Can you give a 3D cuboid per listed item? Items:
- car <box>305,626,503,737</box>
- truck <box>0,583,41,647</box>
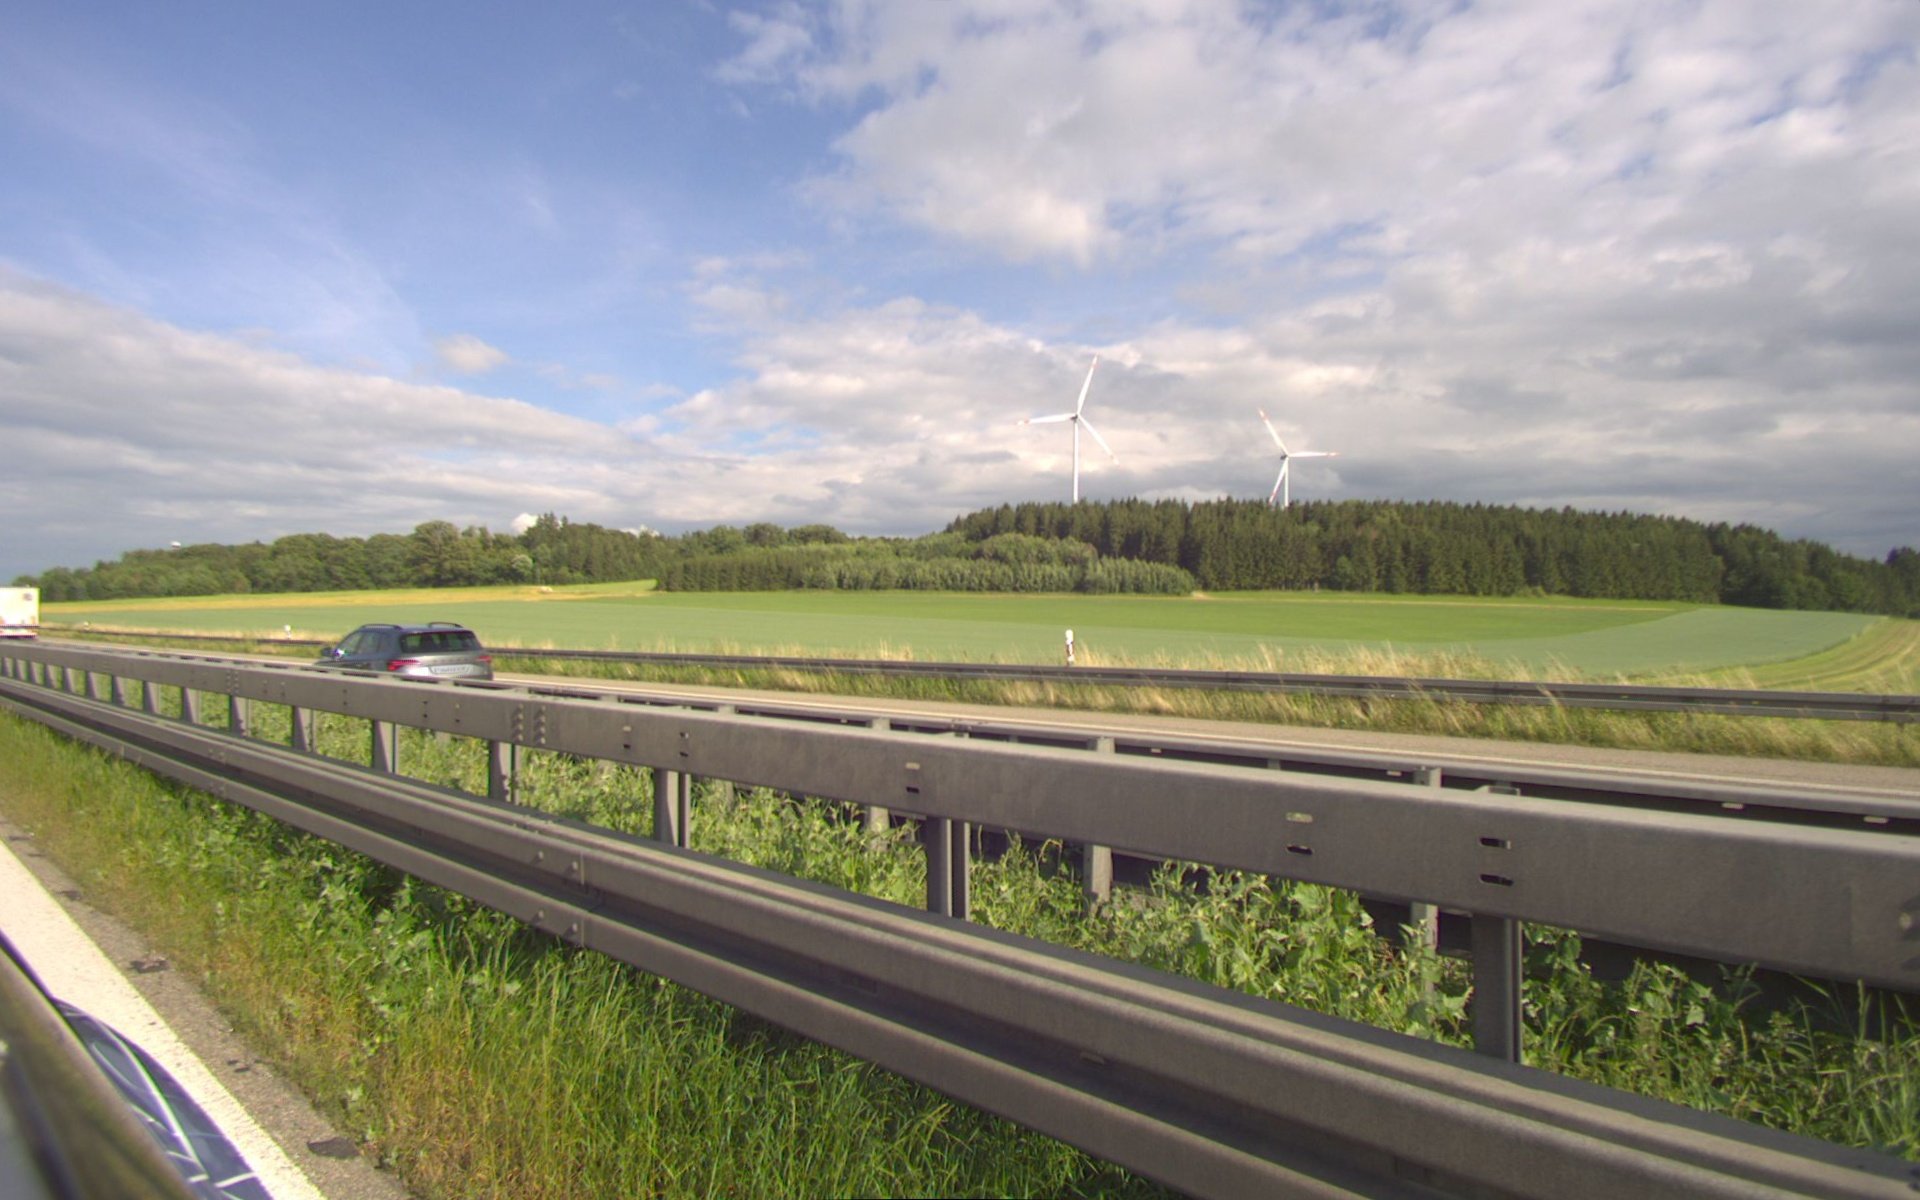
[{"bbox_3d":[-9.537,1.282,17.232,4.062,1.597,1.599,-1,0,40],"label":"car"},{"bbox_3d":[-75.148,1.152,79.439,13.415,4.669,2.850,-1,0,41],"label":"truck"}]
